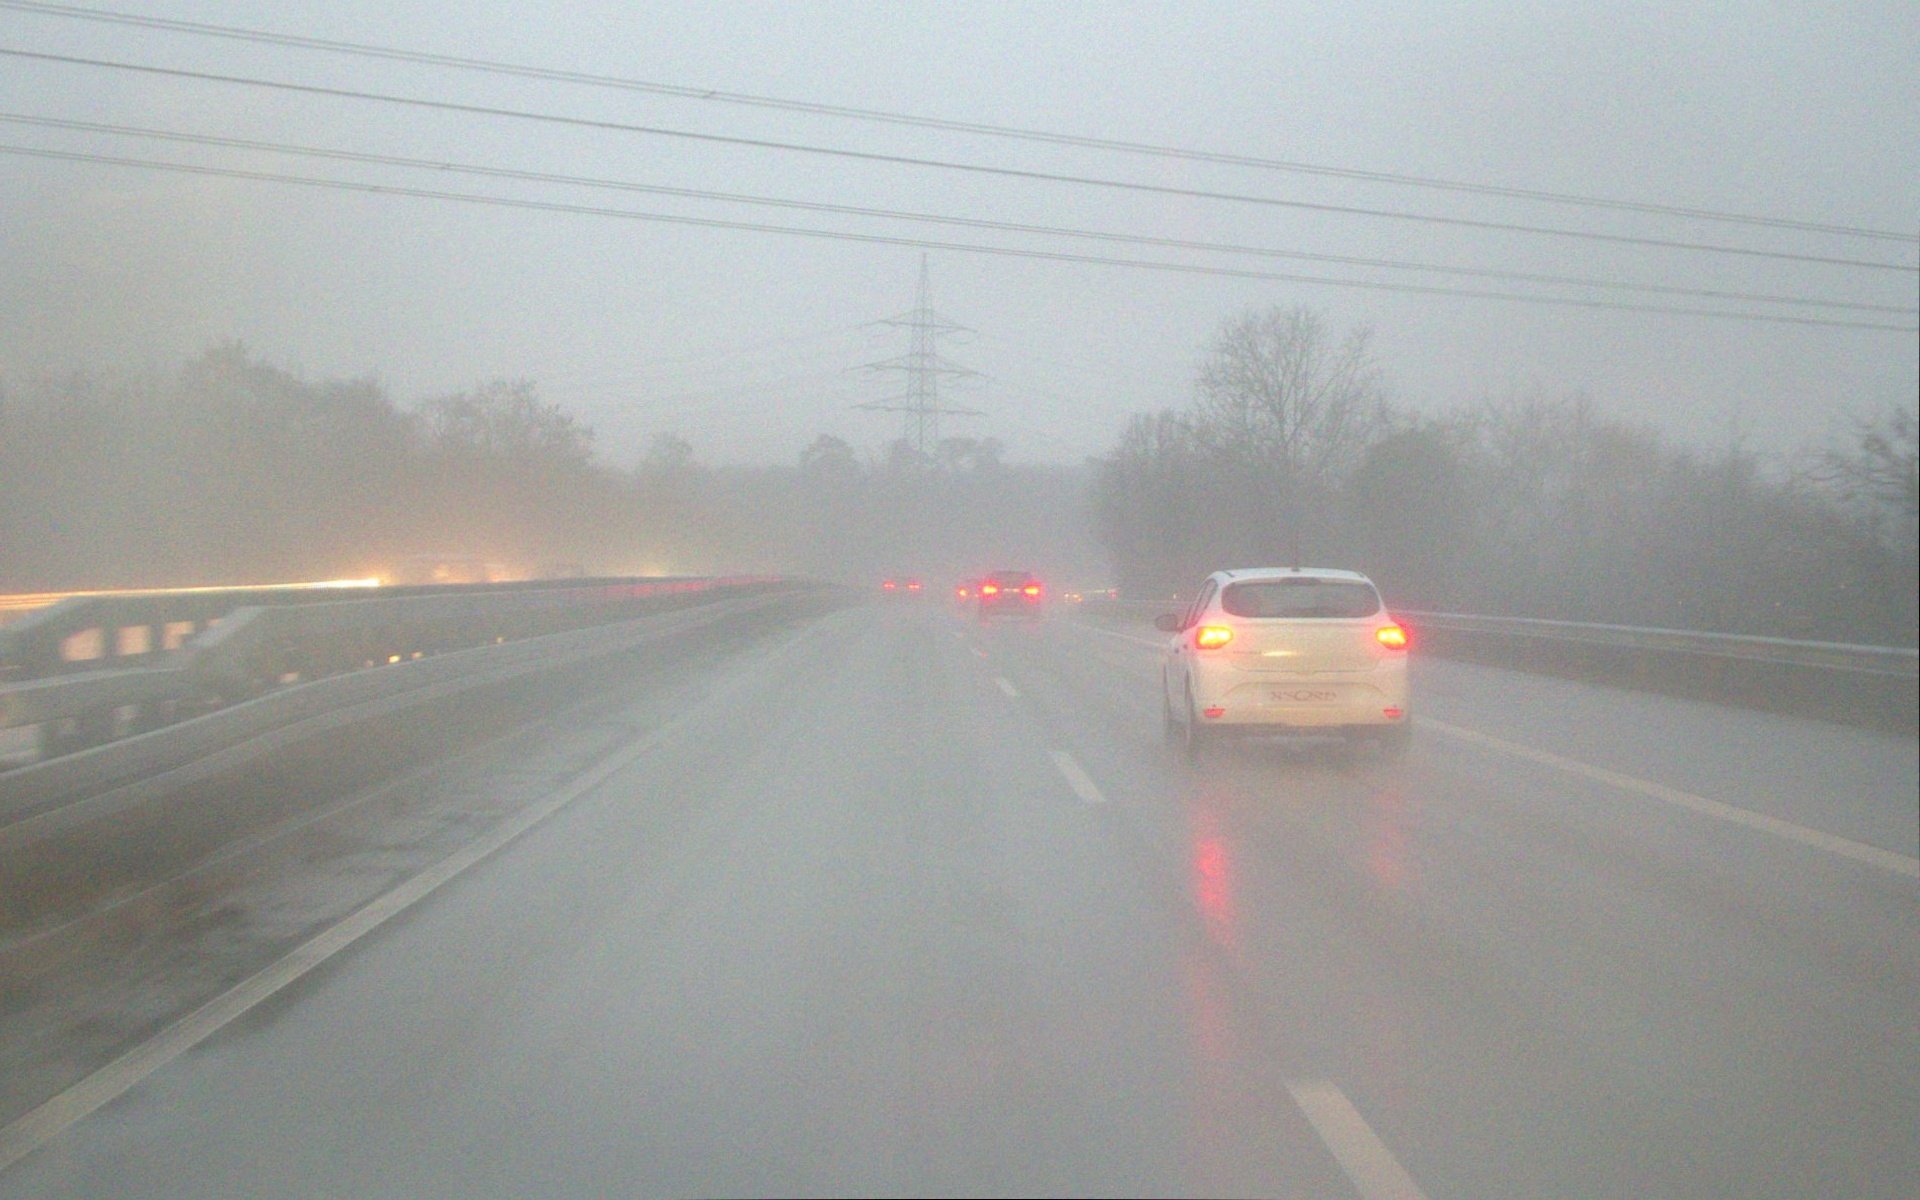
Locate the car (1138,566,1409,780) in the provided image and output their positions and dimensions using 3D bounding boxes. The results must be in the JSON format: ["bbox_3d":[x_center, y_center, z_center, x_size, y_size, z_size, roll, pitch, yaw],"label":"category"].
[{"bbox_3d":[2.527,0.548,28.527,1.845,1.630,3.768,0,1,-1],"label":"car"}]
